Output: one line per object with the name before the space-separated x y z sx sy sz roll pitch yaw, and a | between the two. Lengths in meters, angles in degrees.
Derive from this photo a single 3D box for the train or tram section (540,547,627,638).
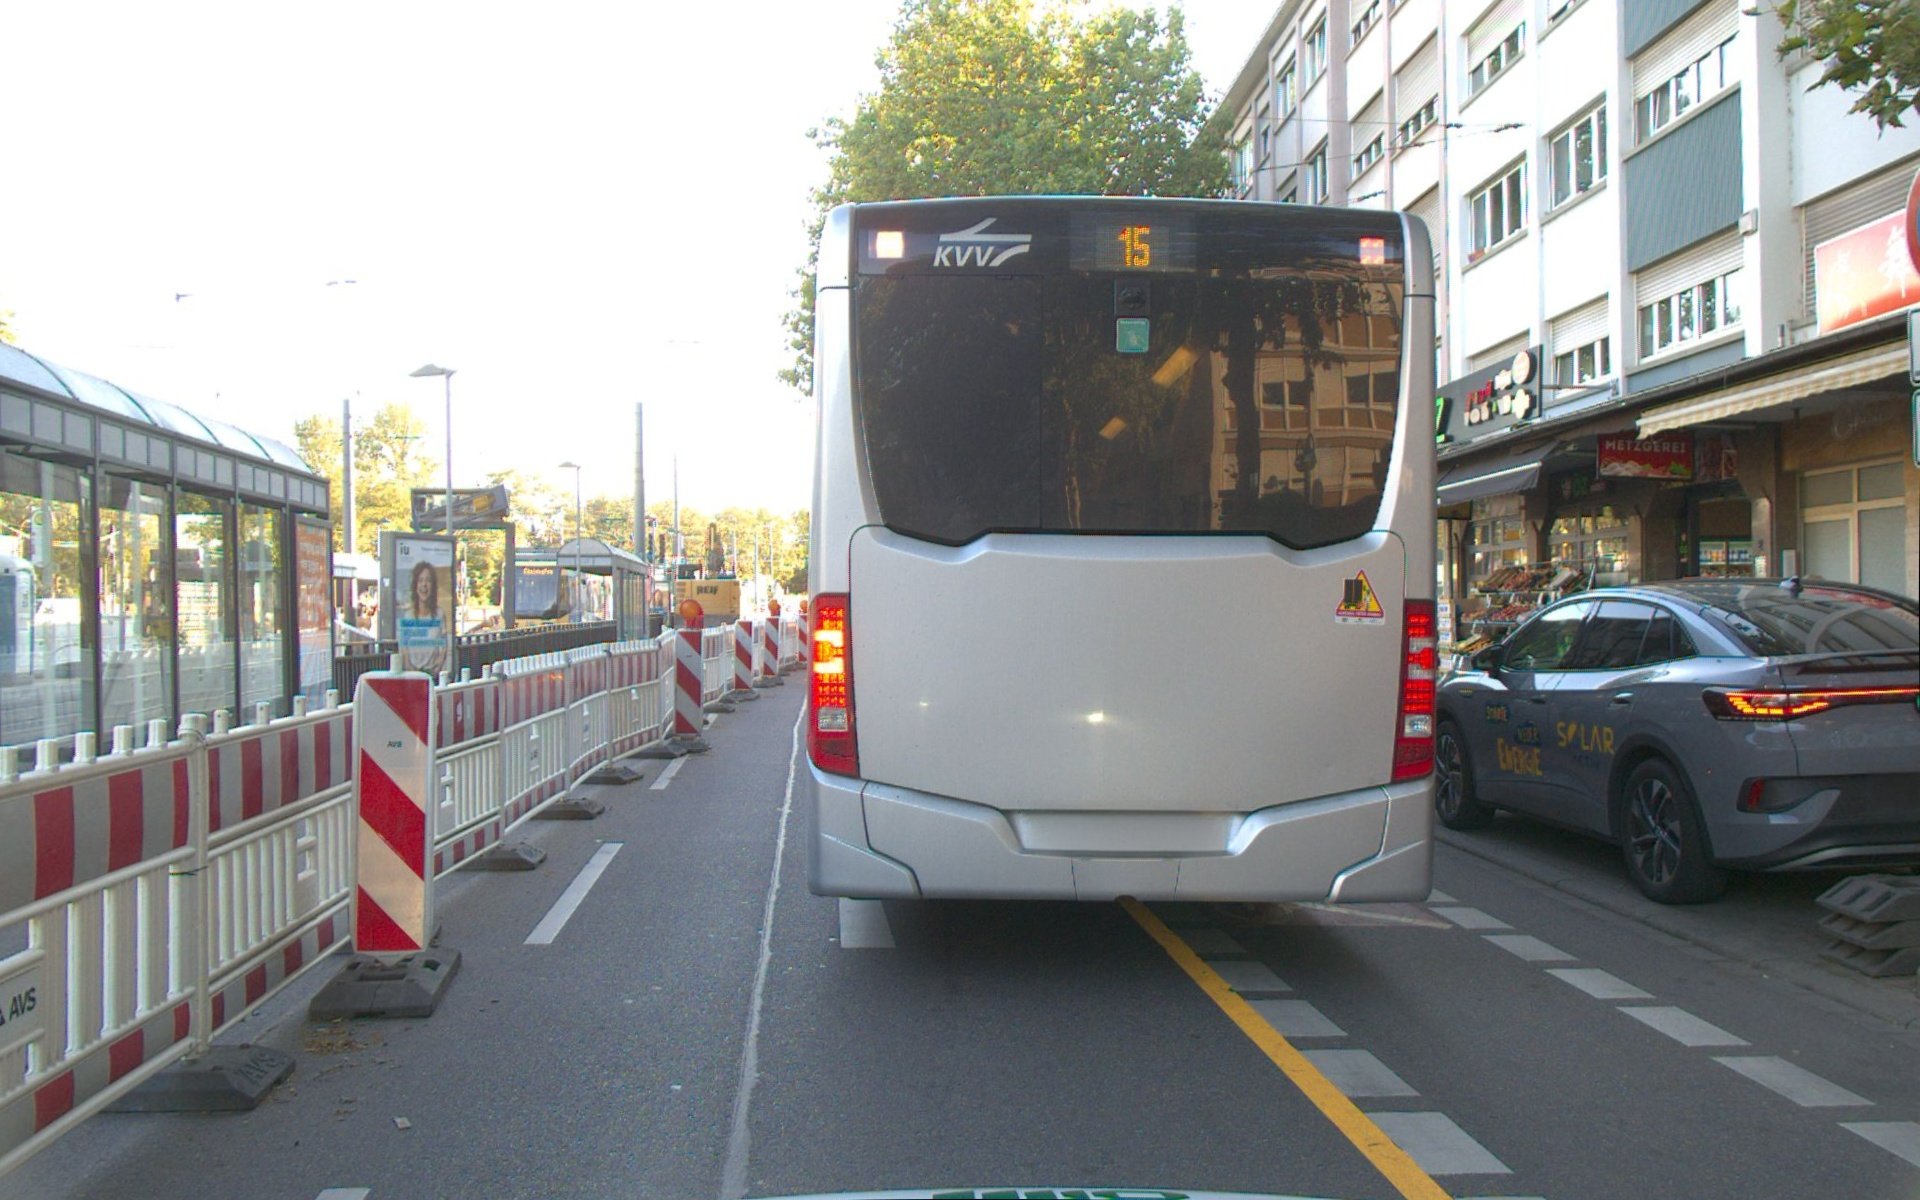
train or tram section | -16.332 -0.278 72.441 2.636 3.621 11.560 1 0 -8

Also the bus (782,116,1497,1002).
bus | 0.616 -0.129 10.042 2.558 3.181 7.991 1 0 -1

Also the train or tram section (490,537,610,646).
train or tram section | -14.901 -0.251 60.989 2.634 3.595 11.756 1 0 -6

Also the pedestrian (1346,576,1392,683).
pedestrian | 6.664 0.480 26.940 0.649 1.696 0.601 -2 -1 15

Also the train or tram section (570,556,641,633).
train or tram section | -17.845 -0.222 83.874 2.636 3.594 11.560 1 0 -8

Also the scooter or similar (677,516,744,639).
scooter or similar | -9.652 -0.841 64.224 2.422 4.549 5.962 0 0 -8

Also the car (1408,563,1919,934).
car | 4.386 0.640 9.688 1.955 1.609 4.363 -3 0 -5
